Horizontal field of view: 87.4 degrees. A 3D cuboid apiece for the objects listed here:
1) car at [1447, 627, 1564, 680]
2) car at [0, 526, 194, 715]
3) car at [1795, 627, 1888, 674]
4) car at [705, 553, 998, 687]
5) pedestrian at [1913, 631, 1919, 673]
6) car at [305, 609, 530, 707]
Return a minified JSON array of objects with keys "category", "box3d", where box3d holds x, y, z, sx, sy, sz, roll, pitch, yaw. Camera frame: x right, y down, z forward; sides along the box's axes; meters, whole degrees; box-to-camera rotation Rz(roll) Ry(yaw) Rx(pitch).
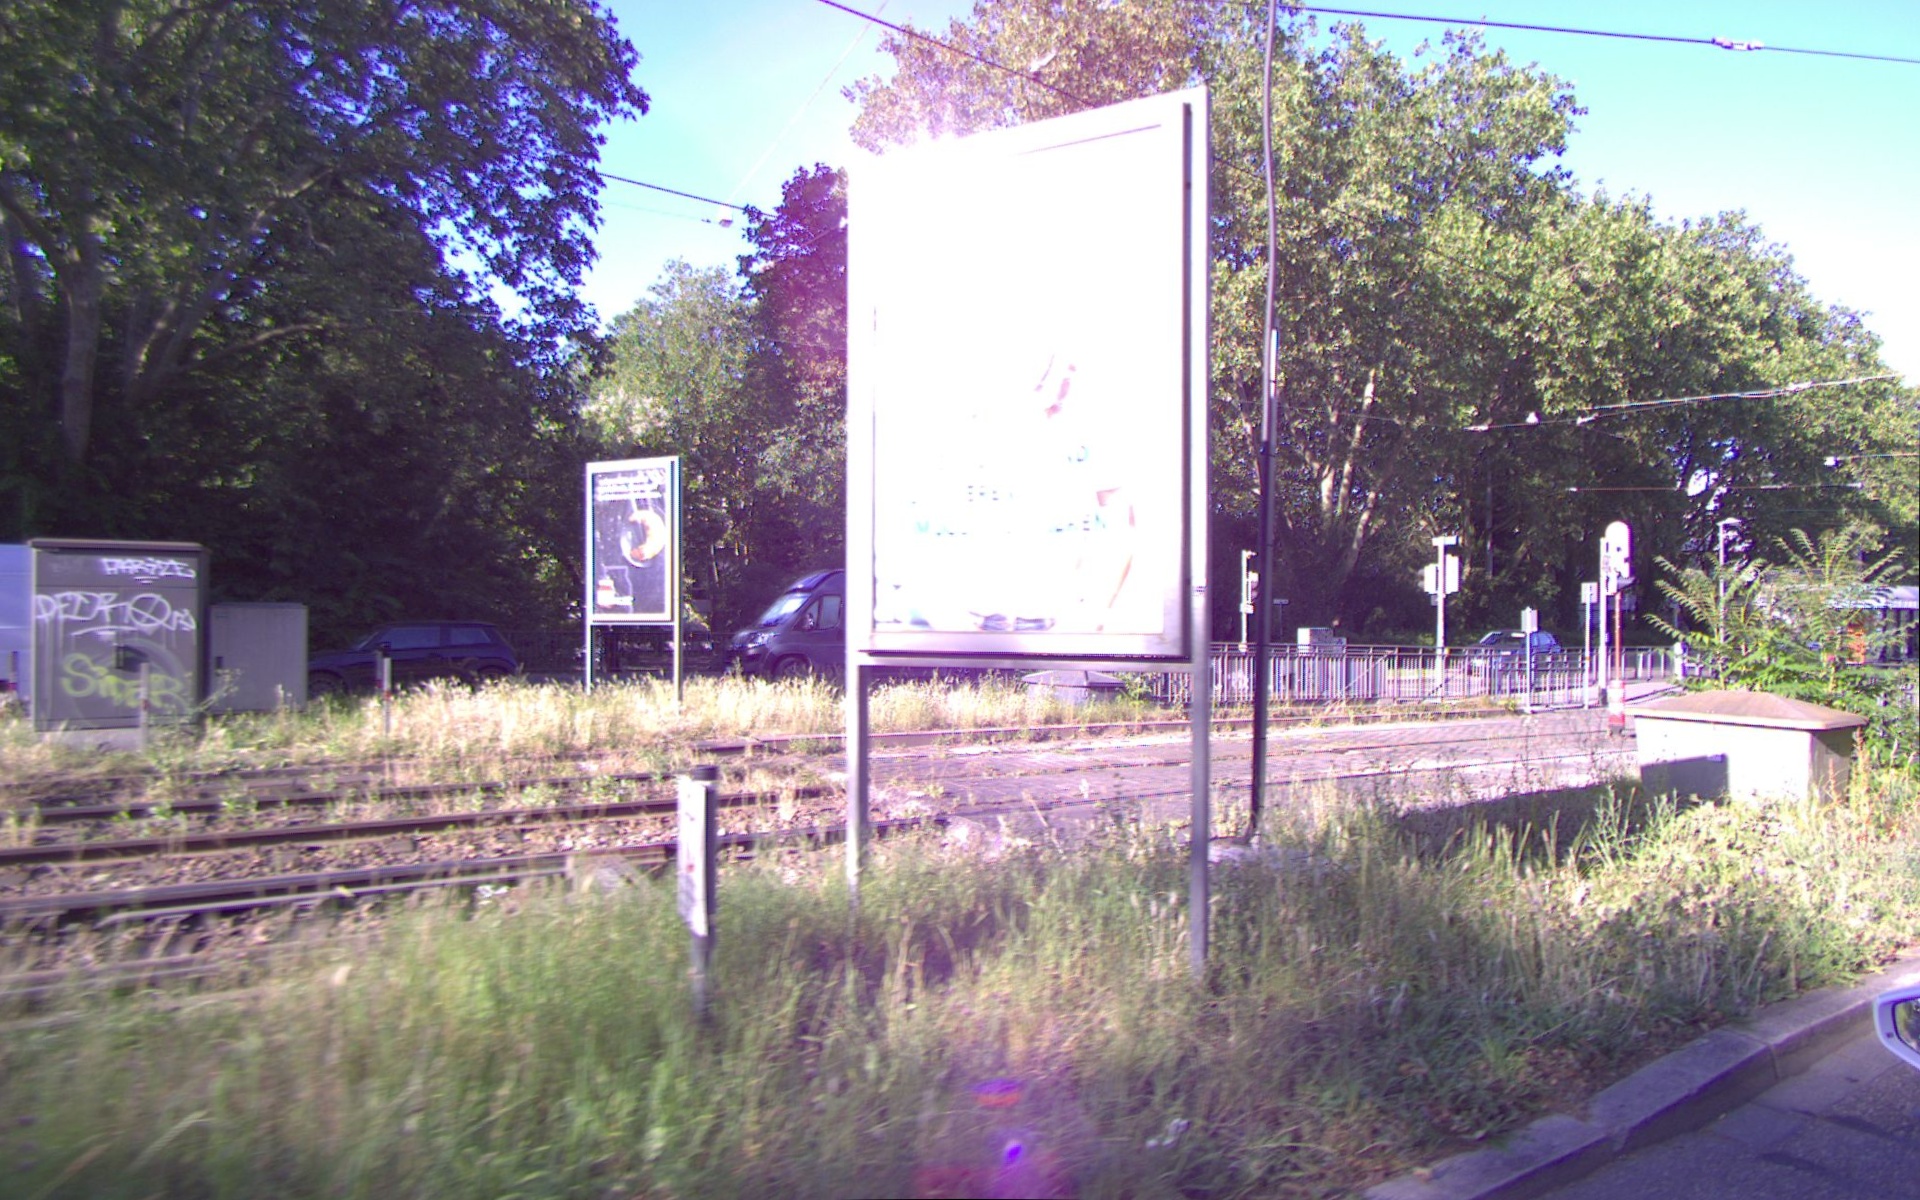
[{"category":"car","box3d":[18.242,1.794,33.553,3.933,1.673,1.891,3,-3,-35]},{"category":"car","box3d":[-14.515,0.271,13.740,6.209,2.553,2.170,3,-3,-35]},{"category":"car","box3d":[42.339,2.456,48.224,5.036,2.152,2.055,2,-3,-33]},{"category":"car","box3d":[-2.222,0.529,21.639,5.968,2.553,2.171,2,-3,-33]},{"category":"pedestrian","box3d":[36.488,1.970,37.920,0.619,1.564,0.590,2,0,-31]},{"category":"car","box3d":[-9.276,0.992,17.236,3.233,1.532,1.642,2,-3,-34]}]
